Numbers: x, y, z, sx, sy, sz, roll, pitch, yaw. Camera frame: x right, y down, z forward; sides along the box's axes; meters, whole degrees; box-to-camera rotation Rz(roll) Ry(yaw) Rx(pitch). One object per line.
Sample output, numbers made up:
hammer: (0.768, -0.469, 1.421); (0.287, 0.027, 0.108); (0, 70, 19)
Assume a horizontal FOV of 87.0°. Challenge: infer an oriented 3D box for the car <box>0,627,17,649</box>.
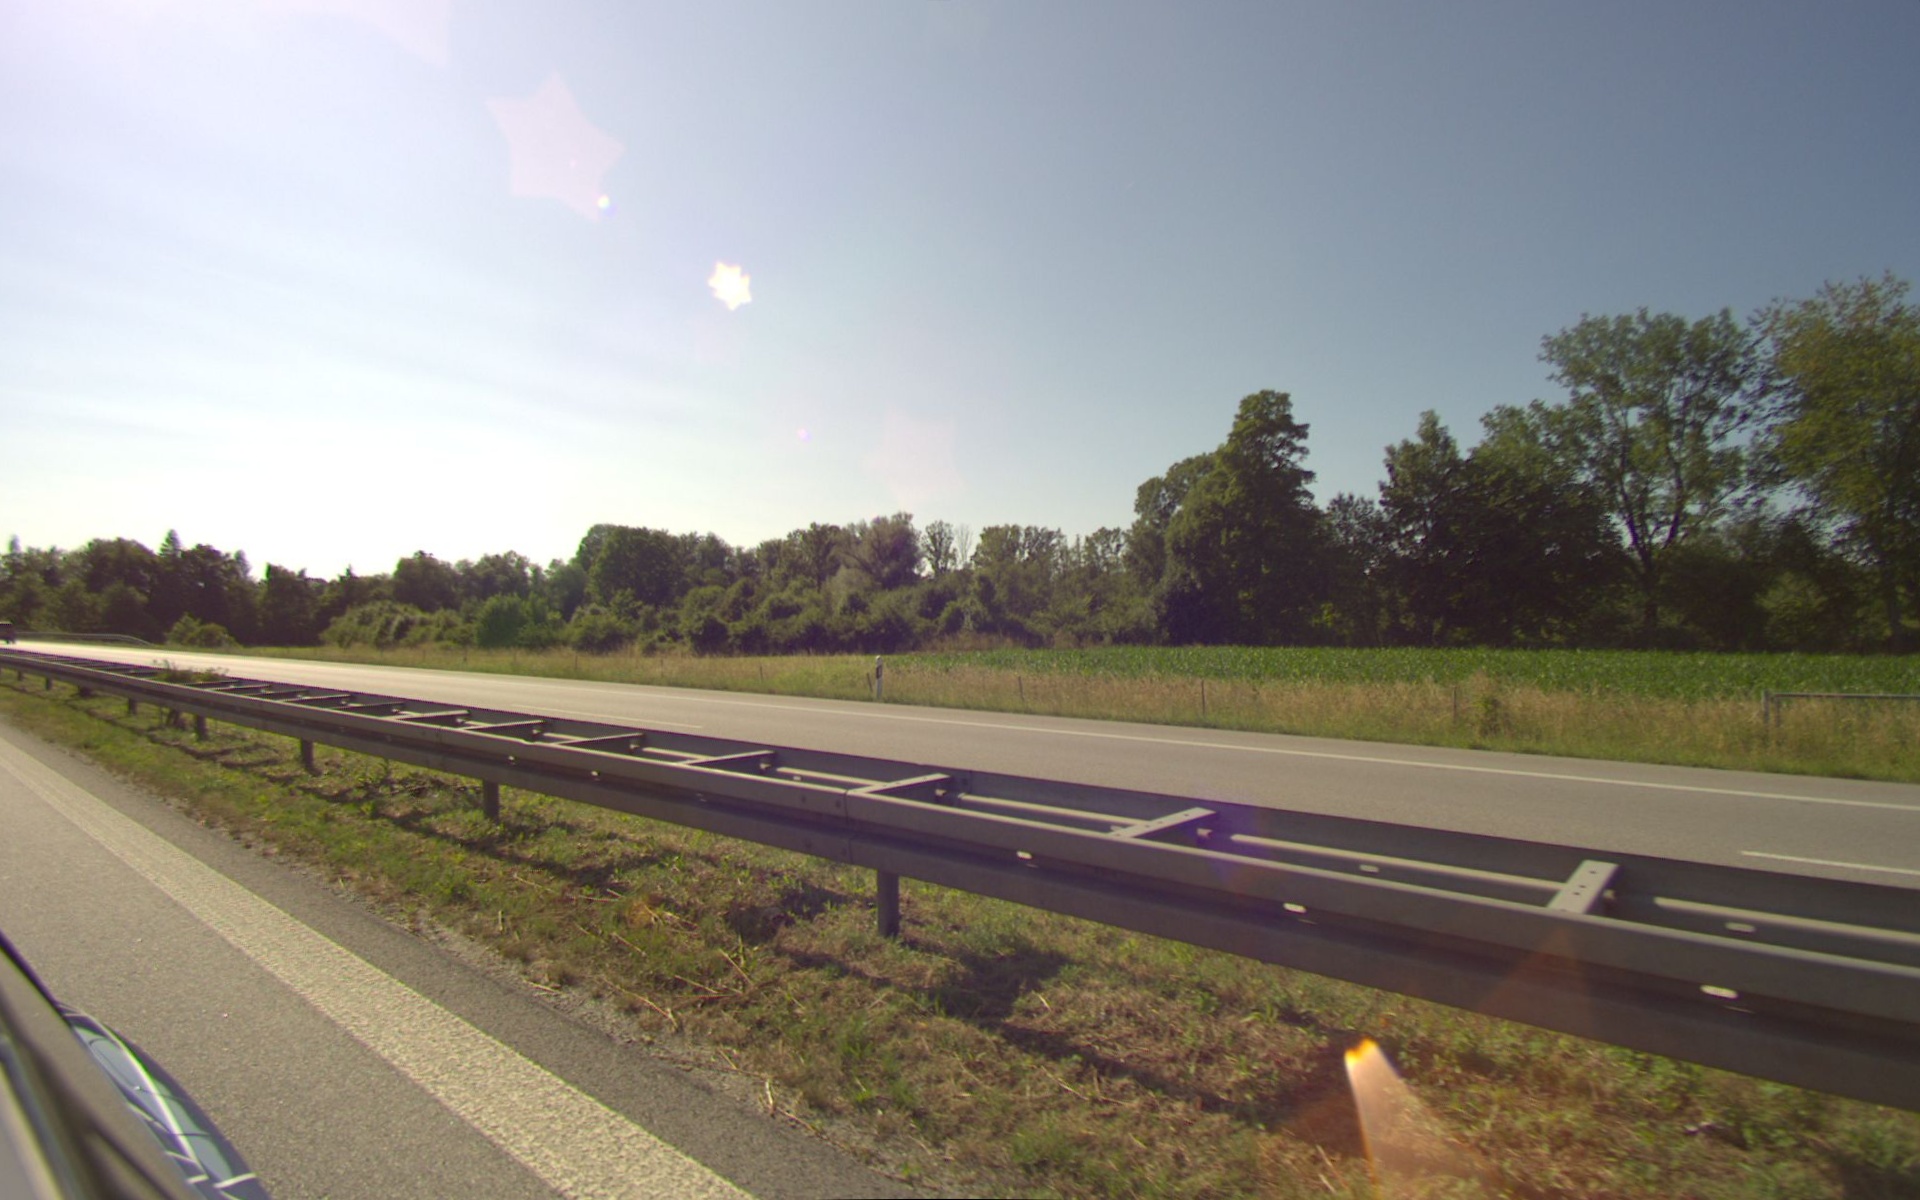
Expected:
car: (-72.960, 2.870, 76.434); (4.772, 1.674, 1.973); (-2, -3, 41)
